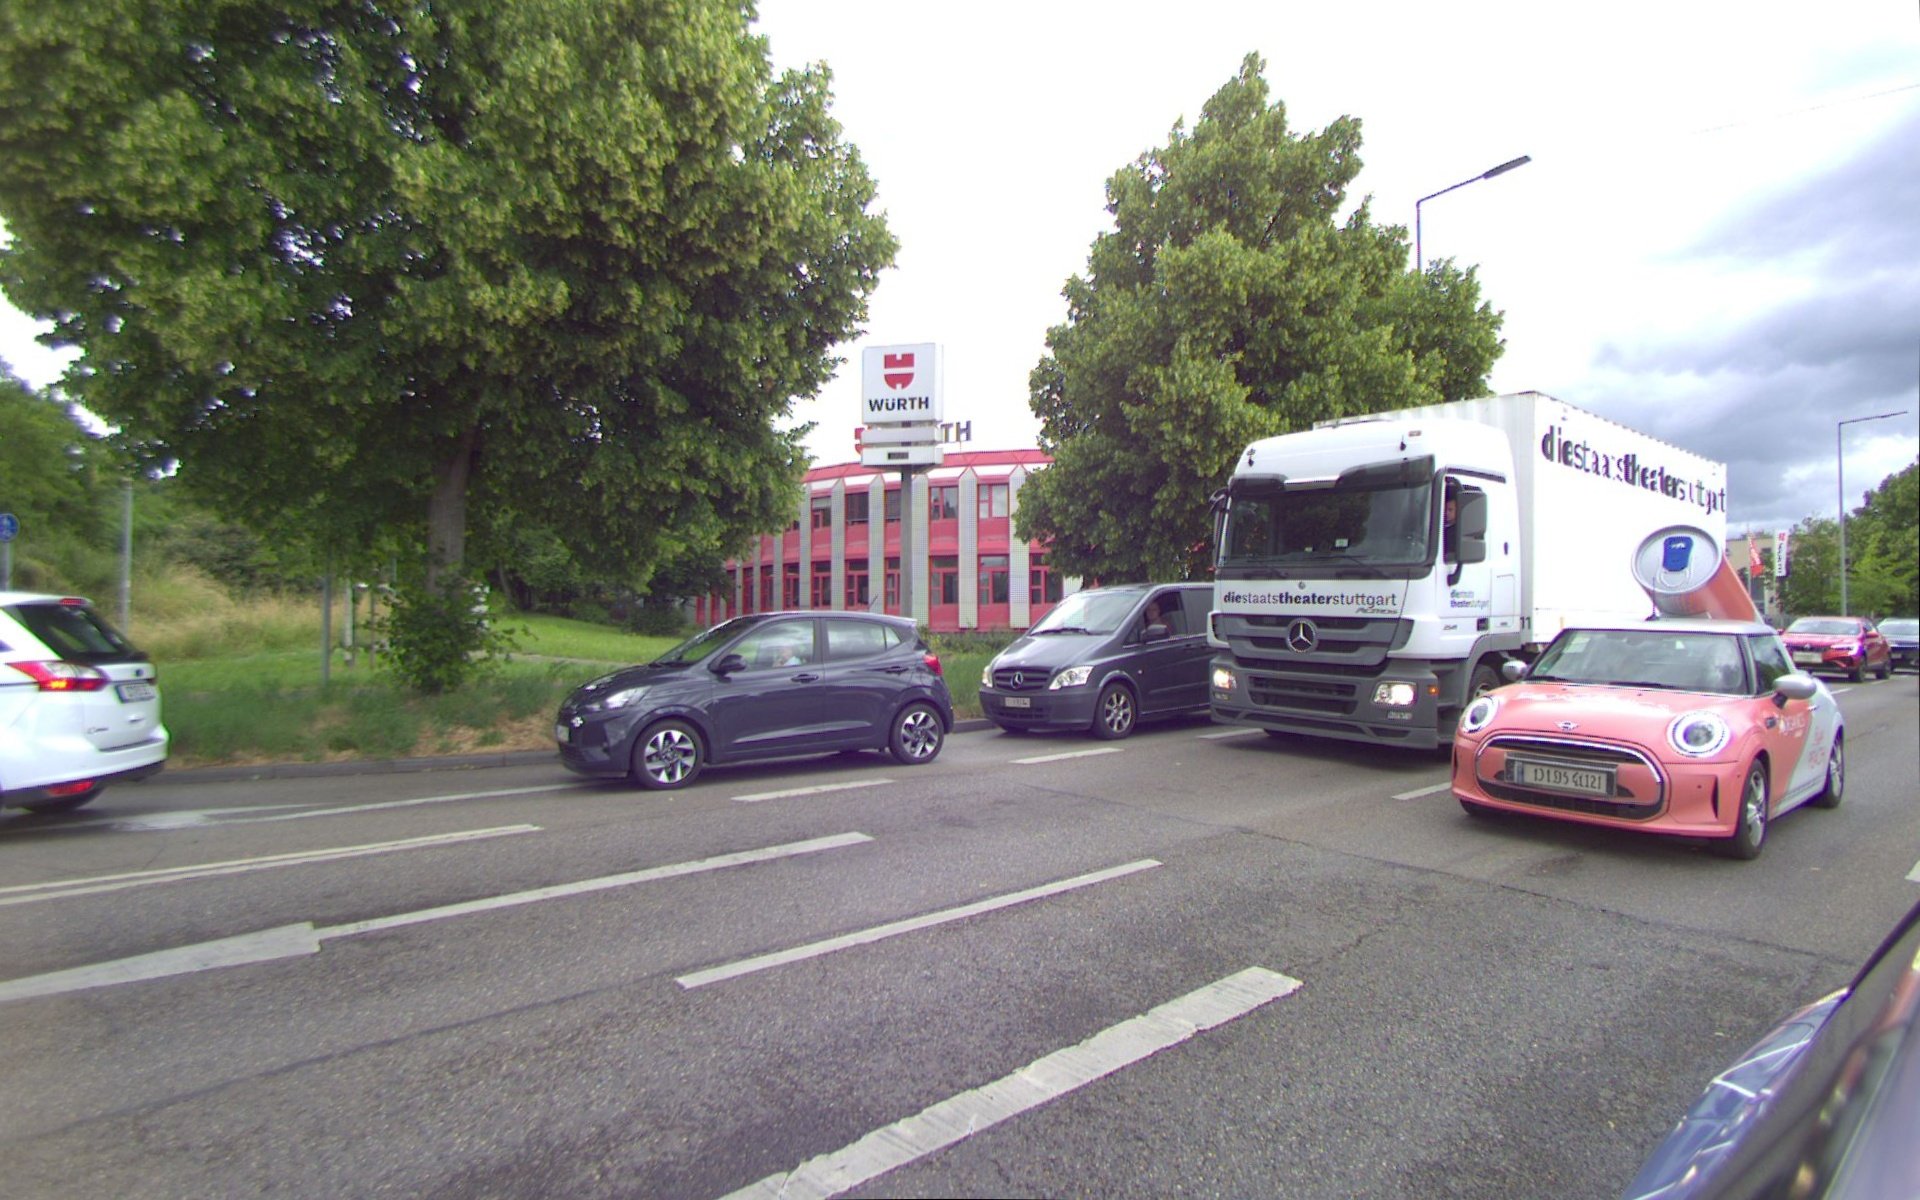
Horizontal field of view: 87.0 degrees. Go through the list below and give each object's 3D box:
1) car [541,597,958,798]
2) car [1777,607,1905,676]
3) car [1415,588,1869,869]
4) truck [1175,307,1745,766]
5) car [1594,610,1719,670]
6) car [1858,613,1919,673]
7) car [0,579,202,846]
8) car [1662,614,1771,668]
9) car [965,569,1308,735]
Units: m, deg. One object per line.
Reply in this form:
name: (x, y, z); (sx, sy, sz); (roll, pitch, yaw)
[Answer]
car: (-1.908, 0.748, 9.504); (3.495, 1.525, 1.608); (-1, 0, -34)
car: (21.854, 0.986, 25.054); (4.299, 1.549, 1.850); (1, -1, -41)
car: (5.012, 0.705, 7.309); (3.431, 1.525, 1.825); (1, 0, -39)
truck: (7.027, -0.531, 13.019); (10.000, 3.953, 2.808); (0, 0, -40)
car: (18.669, 1.004, 27.052); (4.293, 1.458, 1.761); (0, -1, -41)
car: (27.951, 1.223, 29.602); (4.141, 1.549, 1.798); (-1, 0, -38)
car: (-7.858, 0.715, 6.625); (4.278, 1.676, 1.767); (0, -1, -20)
car: (22.509, 1.175, 30.053); (4.293, 1.458, 1.761); (0, -1, -41)
car: (2.407, 0.624, 13.102); (4.591, 1.798, 1.761); (0, -4, -40)
